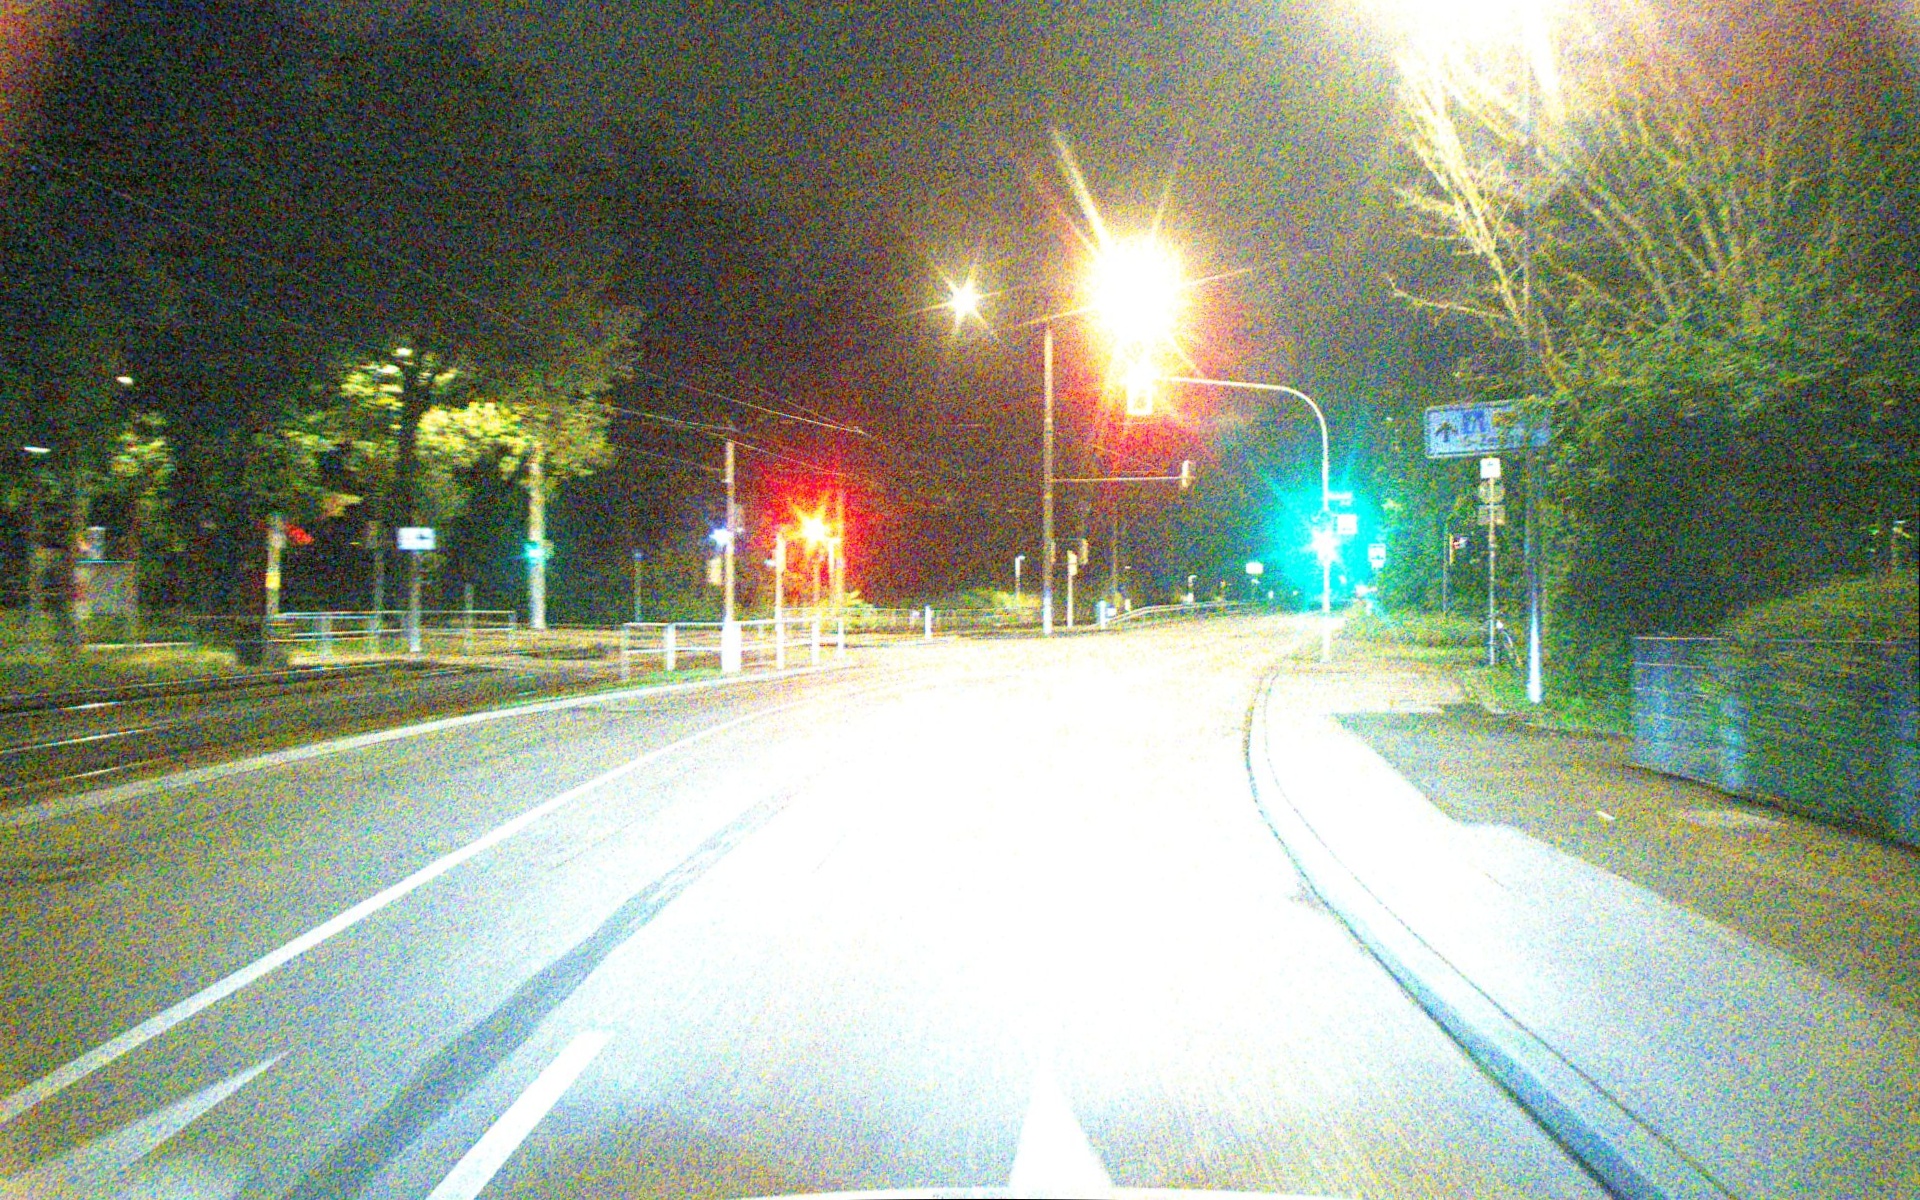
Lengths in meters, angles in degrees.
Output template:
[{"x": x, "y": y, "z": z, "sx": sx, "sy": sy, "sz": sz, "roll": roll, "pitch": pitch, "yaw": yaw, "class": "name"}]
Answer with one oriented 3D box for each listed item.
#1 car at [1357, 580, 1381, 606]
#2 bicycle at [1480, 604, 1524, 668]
[{"x": 36.169, "y": -0.616, "z": 146.074, "sx": 1.951, "sy": 2.049, "sz": 4.002, "roll": 1, "pitch": -2, "yaw": 15, "class": "car"}, {"x": 8.819, "y": 0.609, "z": 26.958, "sx": 0.289, "sy": 0.999, "sz": 1.946, "roll": 0, "pitch": -3, "yaw": 7, "class": "bicycle"}]
